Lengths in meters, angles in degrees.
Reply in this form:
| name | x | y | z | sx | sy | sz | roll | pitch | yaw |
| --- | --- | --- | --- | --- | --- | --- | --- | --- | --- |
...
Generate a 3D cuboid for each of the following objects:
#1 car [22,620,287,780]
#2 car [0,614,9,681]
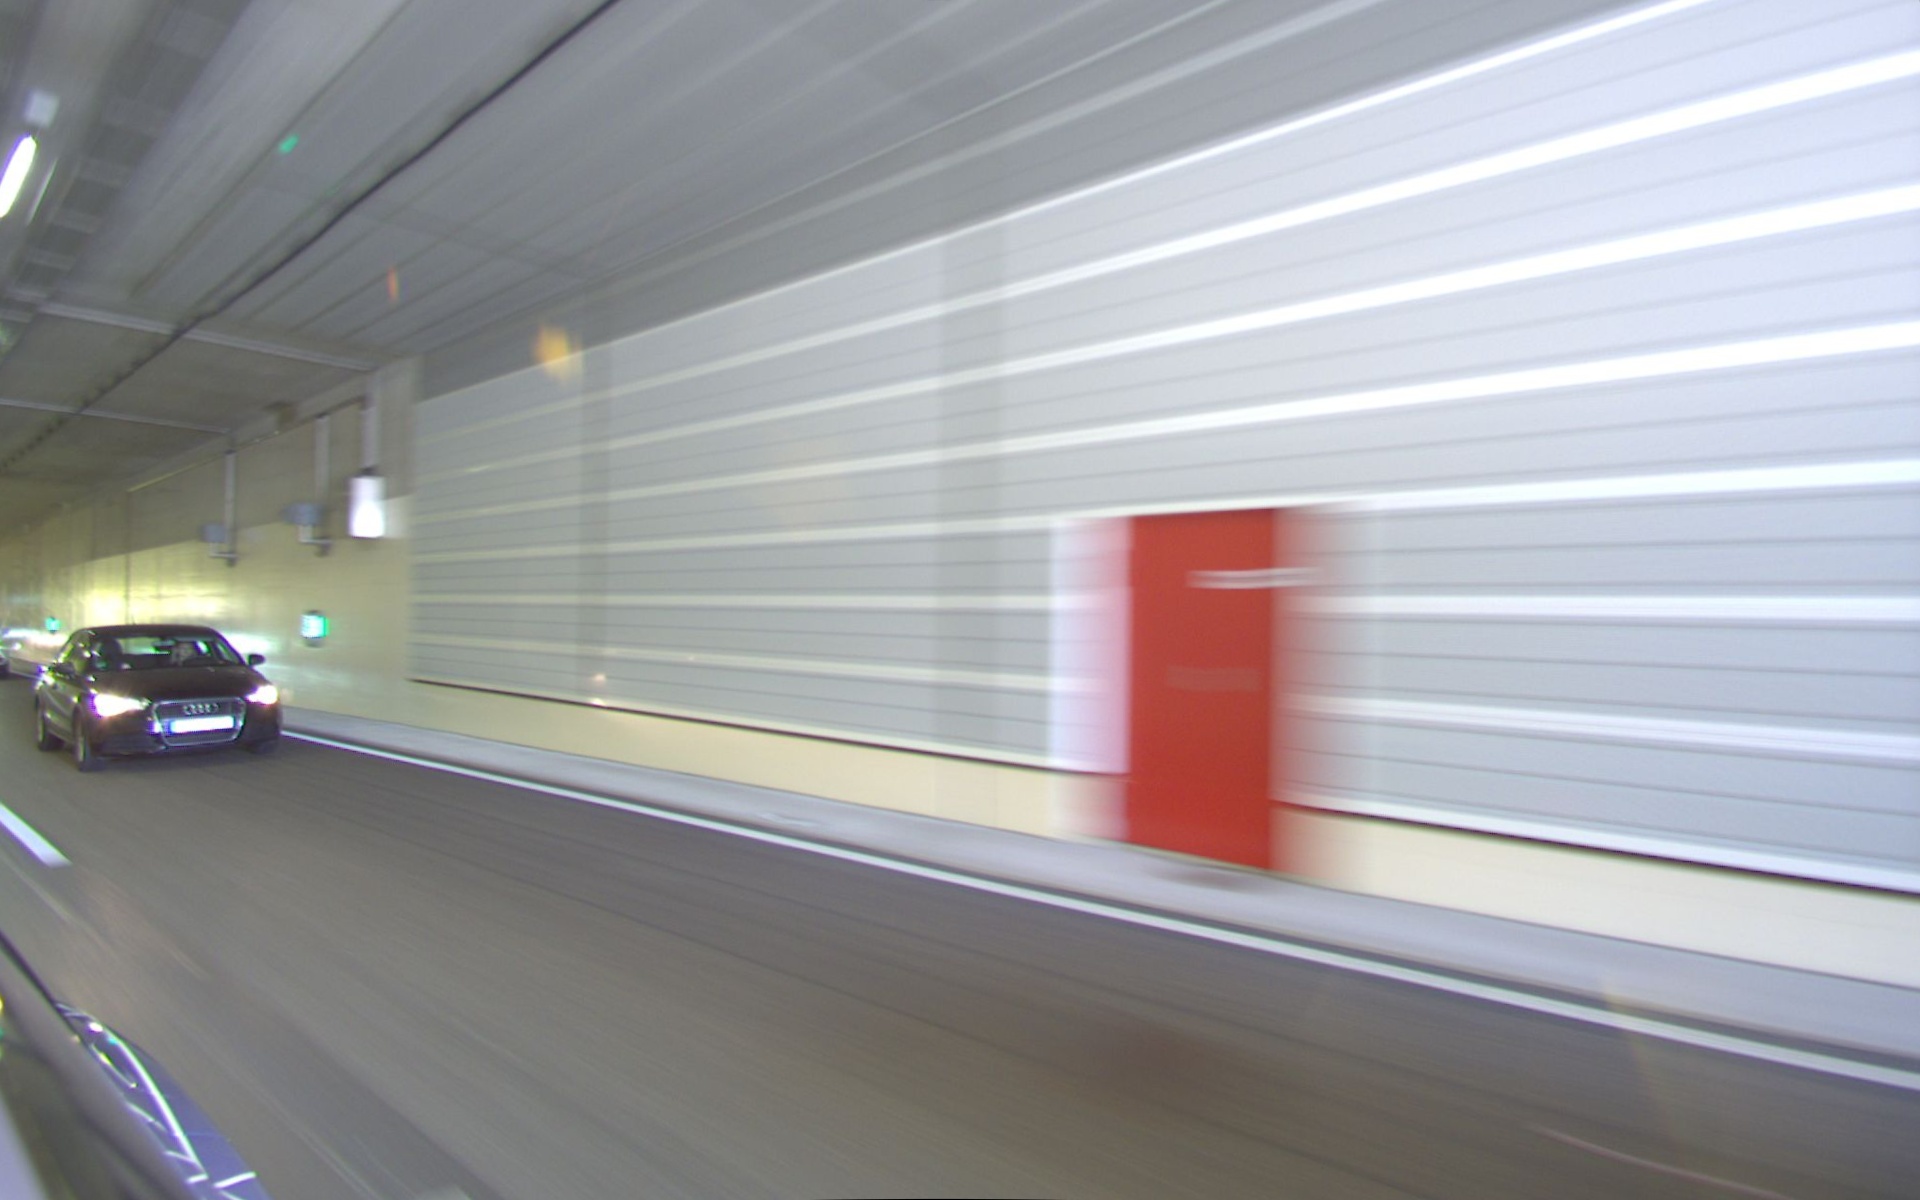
| name | x | y | z | sx | sy | sz | roll | pitch | yaw |
| --- | --- | --- | --- | --- | --- | --- | --- | --- | --- |
| car | -9.021 | 0.970 | 11.226 | 3.887 | 1.429 | 1.677 | -2 | -1 | 42 |
| car | -25.759 | 1.236 | 25.849 | 3.969 | 1.681 | 1.830 | -3 | -3 | 42 |
